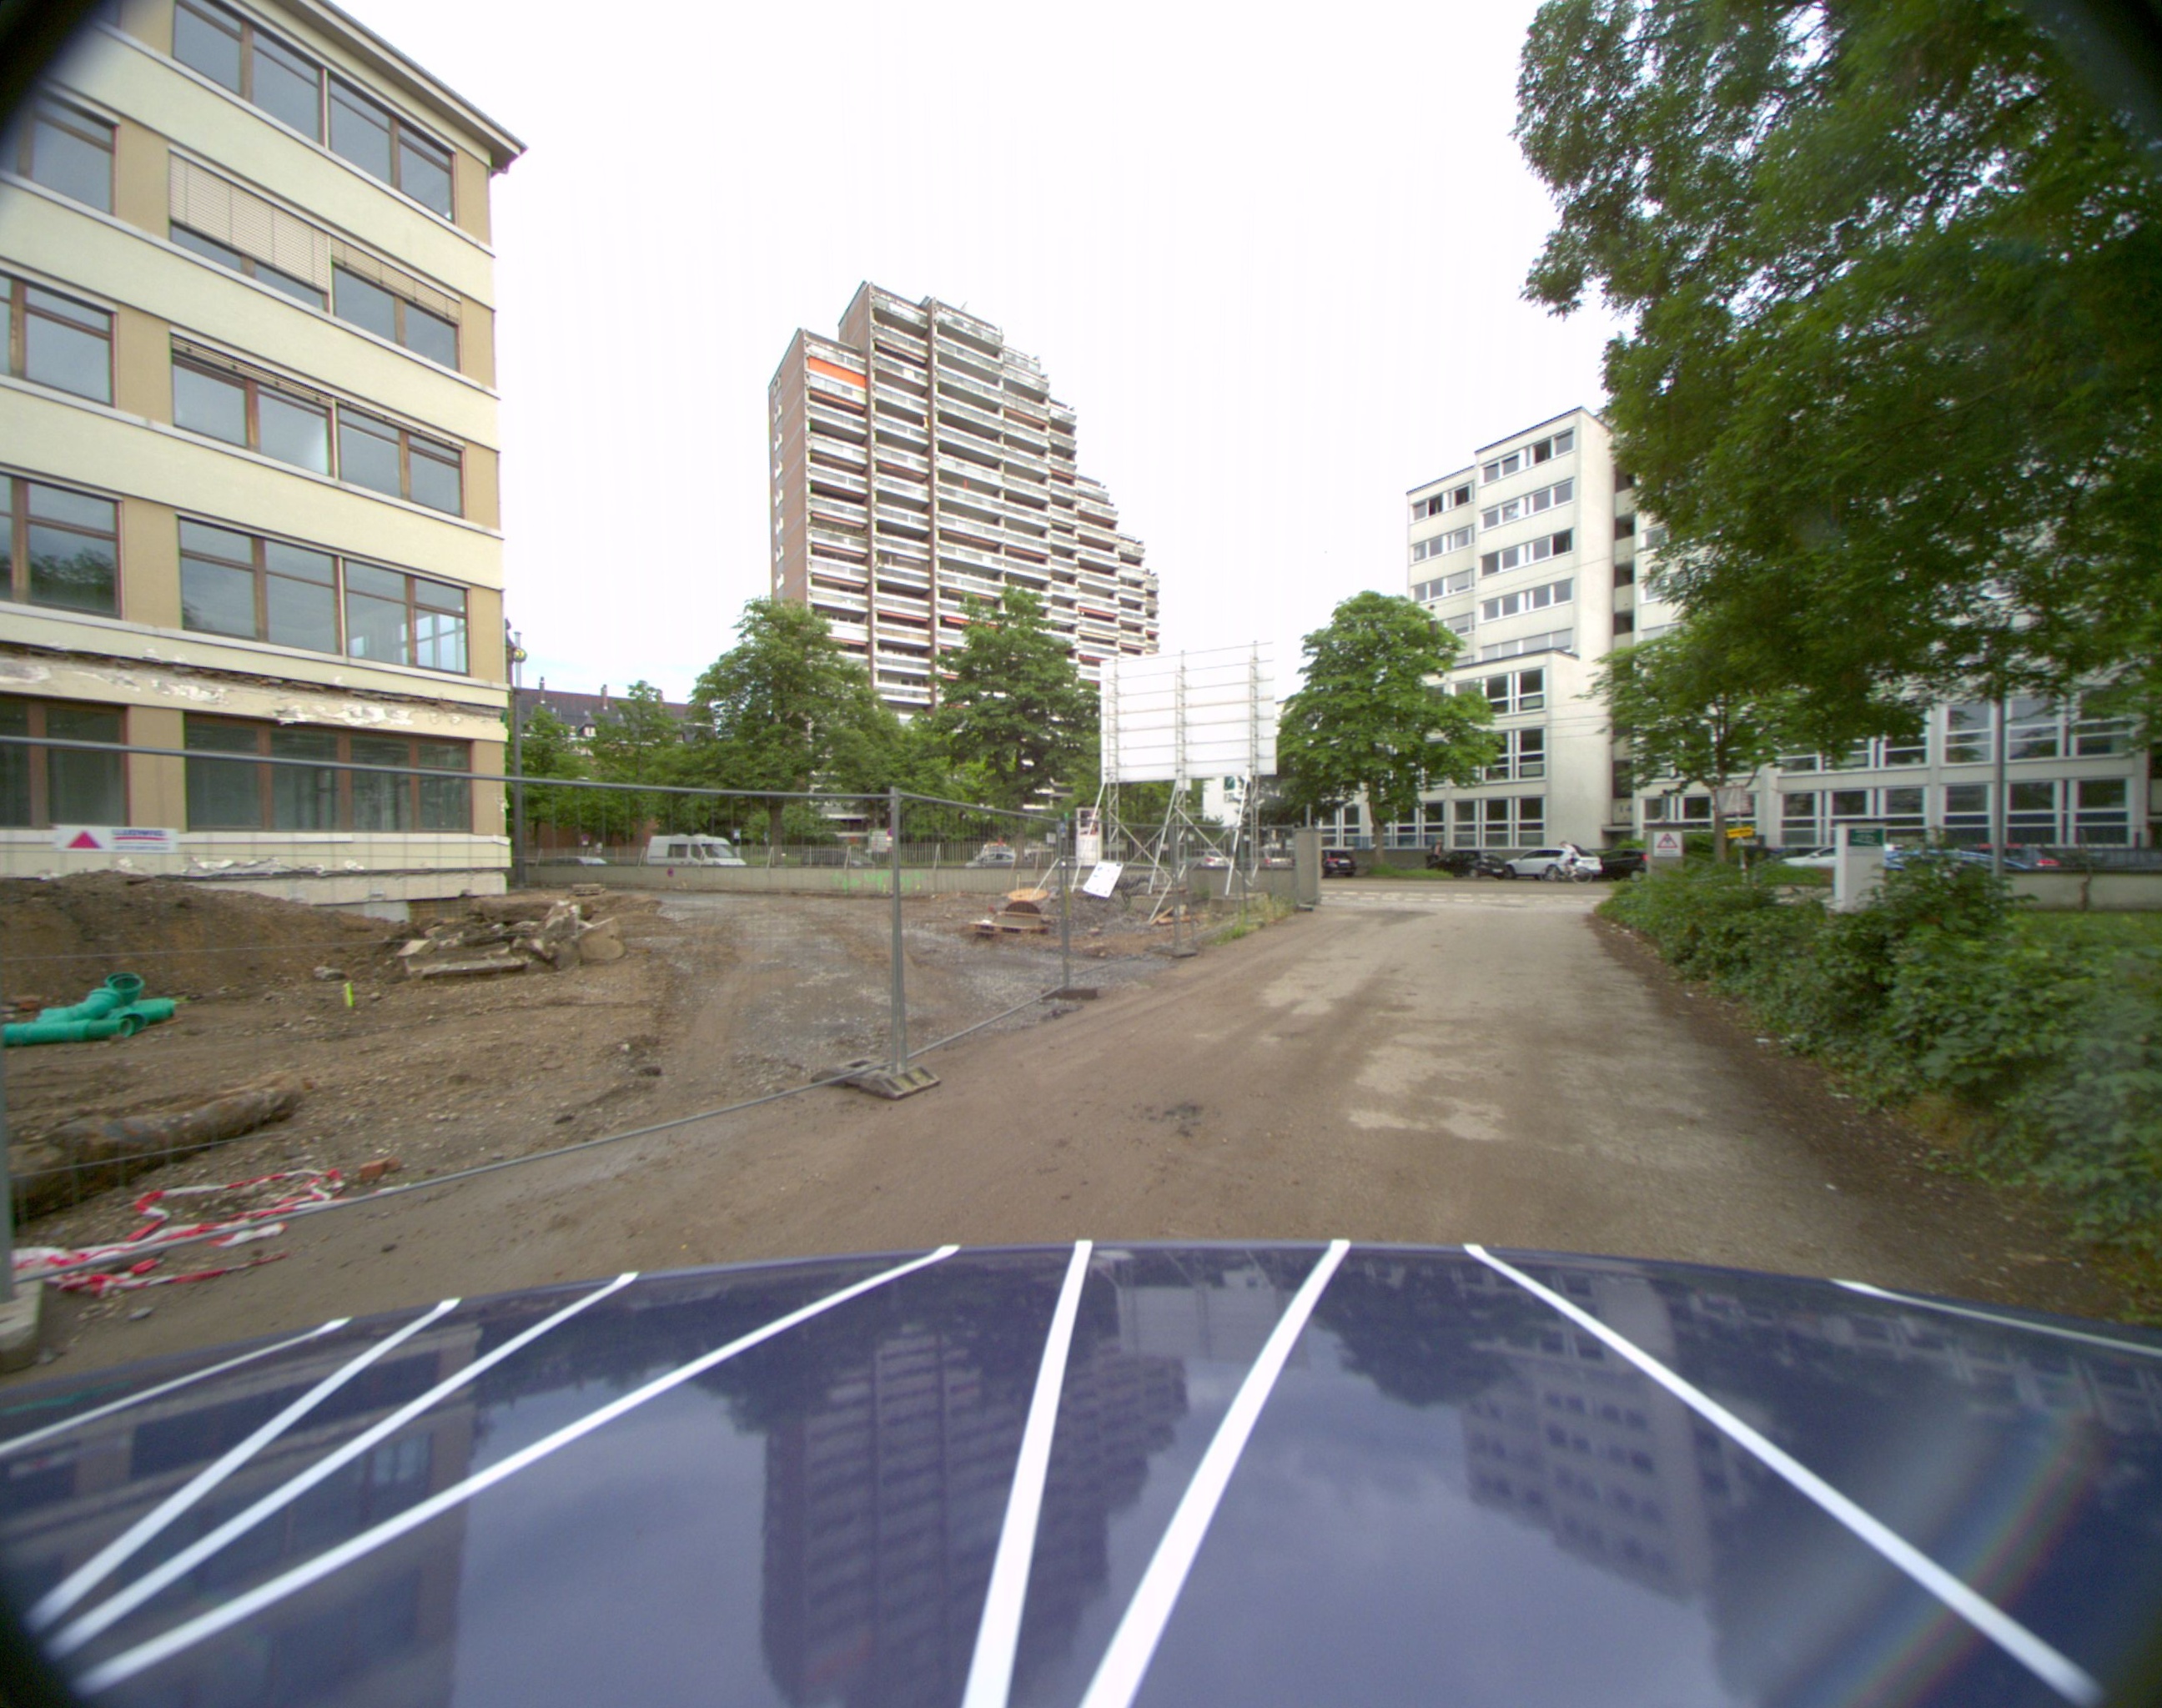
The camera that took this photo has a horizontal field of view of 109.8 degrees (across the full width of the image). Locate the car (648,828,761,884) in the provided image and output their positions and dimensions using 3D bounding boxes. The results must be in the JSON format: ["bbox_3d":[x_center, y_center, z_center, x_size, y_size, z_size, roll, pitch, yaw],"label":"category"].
[{"bbox_3d":[-18.517,0.062,37.323,5.477,2.588,2.123,0,2,28],"label":"car"}]

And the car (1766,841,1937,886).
[{"bbox_3d":[29.935,0.289,29.708,1.701,1.547,4.337,-2,2,-20],"label":"car"}]

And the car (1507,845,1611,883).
[{"bbox_3d":[21.333,0.380,34.103,1.700,1.476,4.024,-1,2,-9],"label":"car"}]

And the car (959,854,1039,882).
[{"bbox_3d":[-4.406,0.716,40.733,3.989,1.420,1.749,0,1,28],"label":"car"}]

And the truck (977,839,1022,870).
[{"bbox_3d":[-5.269,-0.004,48.520,2.001,1.838,5.056,-1,2,-16],"label":"truck"}]

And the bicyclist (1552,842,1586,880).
[{"bbox_3d":[19.419,0.285,30.279,1.024,1.492,0.847,0,1,24],"label":"bicyclist"}]

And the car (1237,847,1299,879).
[{"bbox_3d":[9.786,0.441,39.941,1.574,1.515,3.645,-2,2,-16],"label":"car"}]

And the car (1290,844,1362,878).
[{"bbox_3d":[12.318,0.316,38.393,1.701,1.515,3.699,-2,2,-16],"label":"car"}]

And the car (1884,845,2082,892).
[{"bbox_3d":[32.754,0.466,27.792,1.701,1.446,4.339,-2,2,-17],"label":"car"}]

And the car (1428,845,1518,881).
[{"bbox_3d":[18.429,0.360,35.883,1.701,1.515,3.699,-2,2,-16],"label":"car"}]

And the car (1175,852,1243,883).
[{"bbox_3d":[6.978,0.712,41.808,1.805,1.456,4.423,-1,2,-19],"label":"car"}]

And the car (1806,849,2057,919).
[{"bbox_3d":[19.086,0.632,17.274,3.423,1.452,1.683,0,0,28],"label":"car"}]

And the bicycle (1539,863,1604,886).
[{"bbox_3d":[19.511,0.803,30.252,2.133,0.864,0.471,0,1,22],"label":"bicycle"}]

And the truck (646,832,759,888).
[{"bbox_3d":[-18.574,0.255,37.236,5.477,2.588,2.123,0,2,28],"label":"truck"}]

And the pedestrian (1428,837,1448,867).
[{"bbox_3d":[19.722,-0.135,41.984,0.735,1.603,0.753,-3,5,-41],"label":"pedestrian"}]

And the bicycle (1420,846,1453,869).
[{"bbox_3d":[19.526,0.182,41.702,1.591,1.261,0.407,0,1,38],"label":"bicycle"}]
